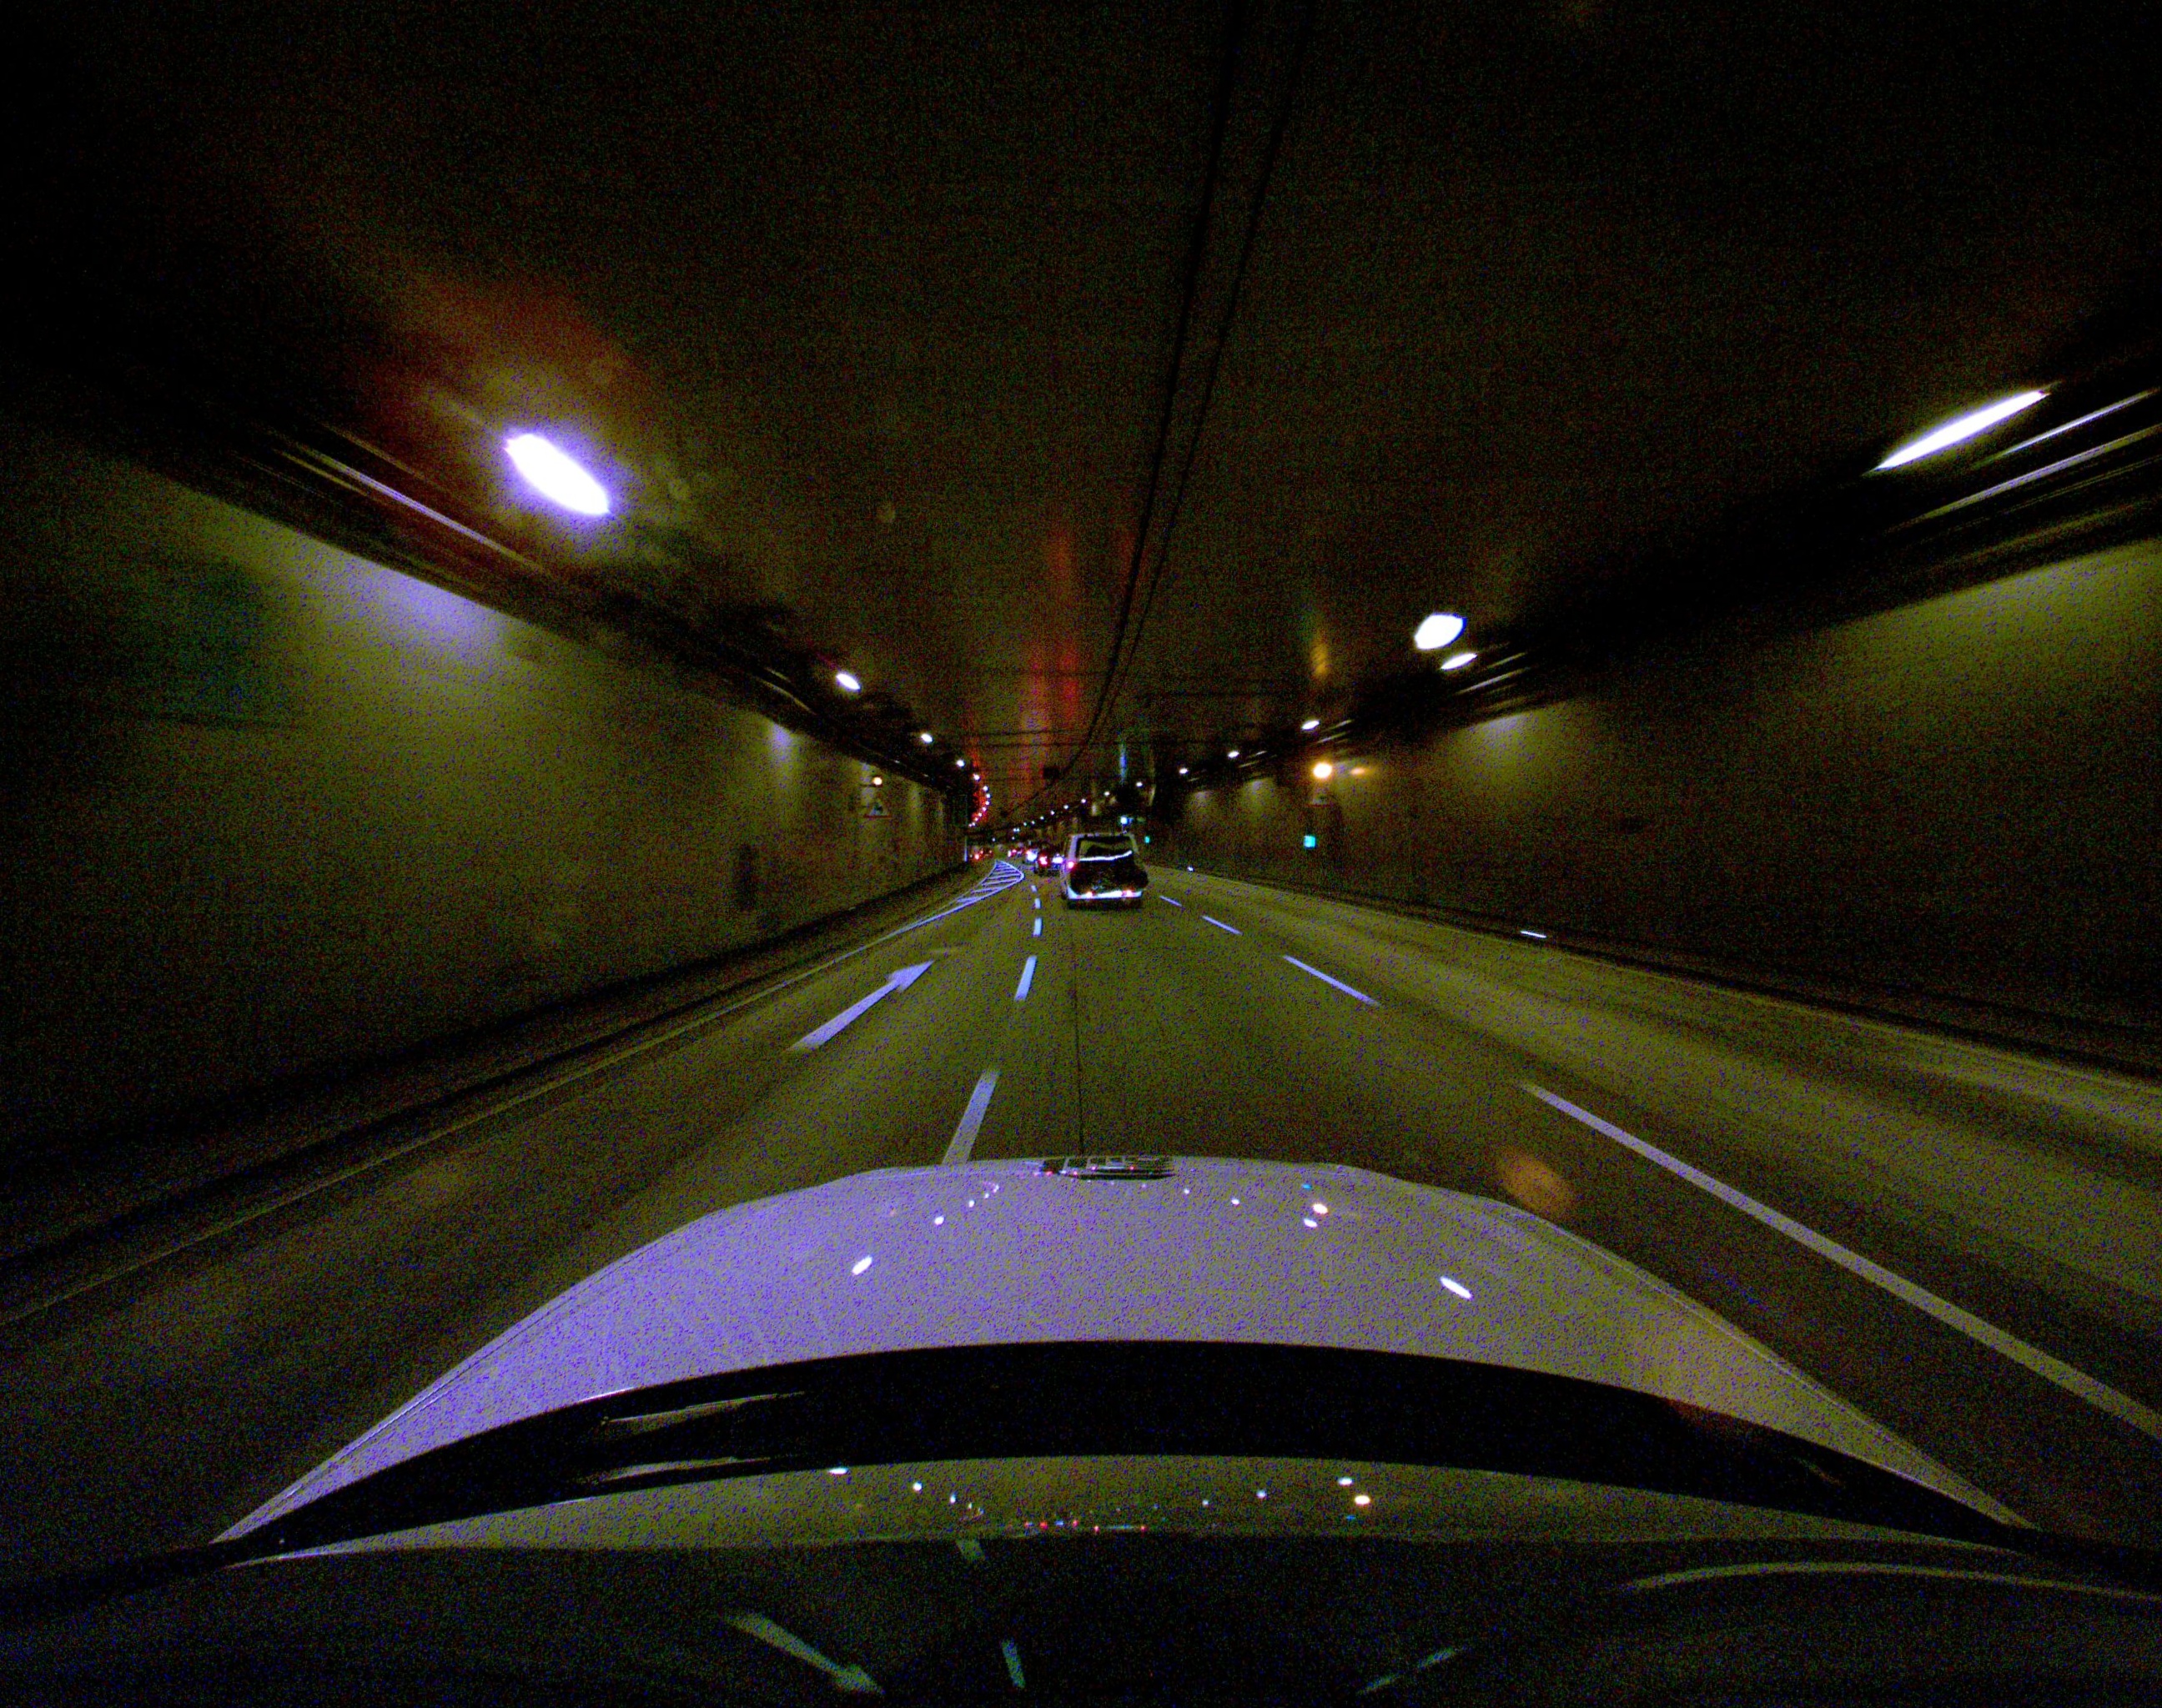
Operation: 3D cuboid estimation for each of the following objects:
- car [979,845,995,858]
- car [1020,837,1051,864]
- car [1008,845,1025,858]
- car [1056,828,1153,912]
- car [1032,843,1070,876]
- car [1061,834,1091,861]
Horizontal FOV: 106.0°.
[{"bbox_3d":[-12.524,-0.269,108.213,1.822,1.630,3.830,1,-1,-10],"label":"car"},{"bbox_3d":[-2.882,-0.220,50.741,1.602,1.594,3.346,-1,1,-9],"label":"car"},{"bbox_3d":[-8.346,-0.272,104.971,1.823,1.630,3.829,1,-1,-10],"label":"car"},{"bbox_3d":[0.462,0.315,21.049,1.989,1.847,5.295,-2,1,-4],"label":"car"},{"bbox_3d":[-1.386,0.200,36.924,1.600,1.395,3.272,-1,1,-5],"label":"car"},{"bbox_3d":[-0.399,-0.436,58.327,1.870,1.762,3.992,1,-1,-5],"label":"car"}]
